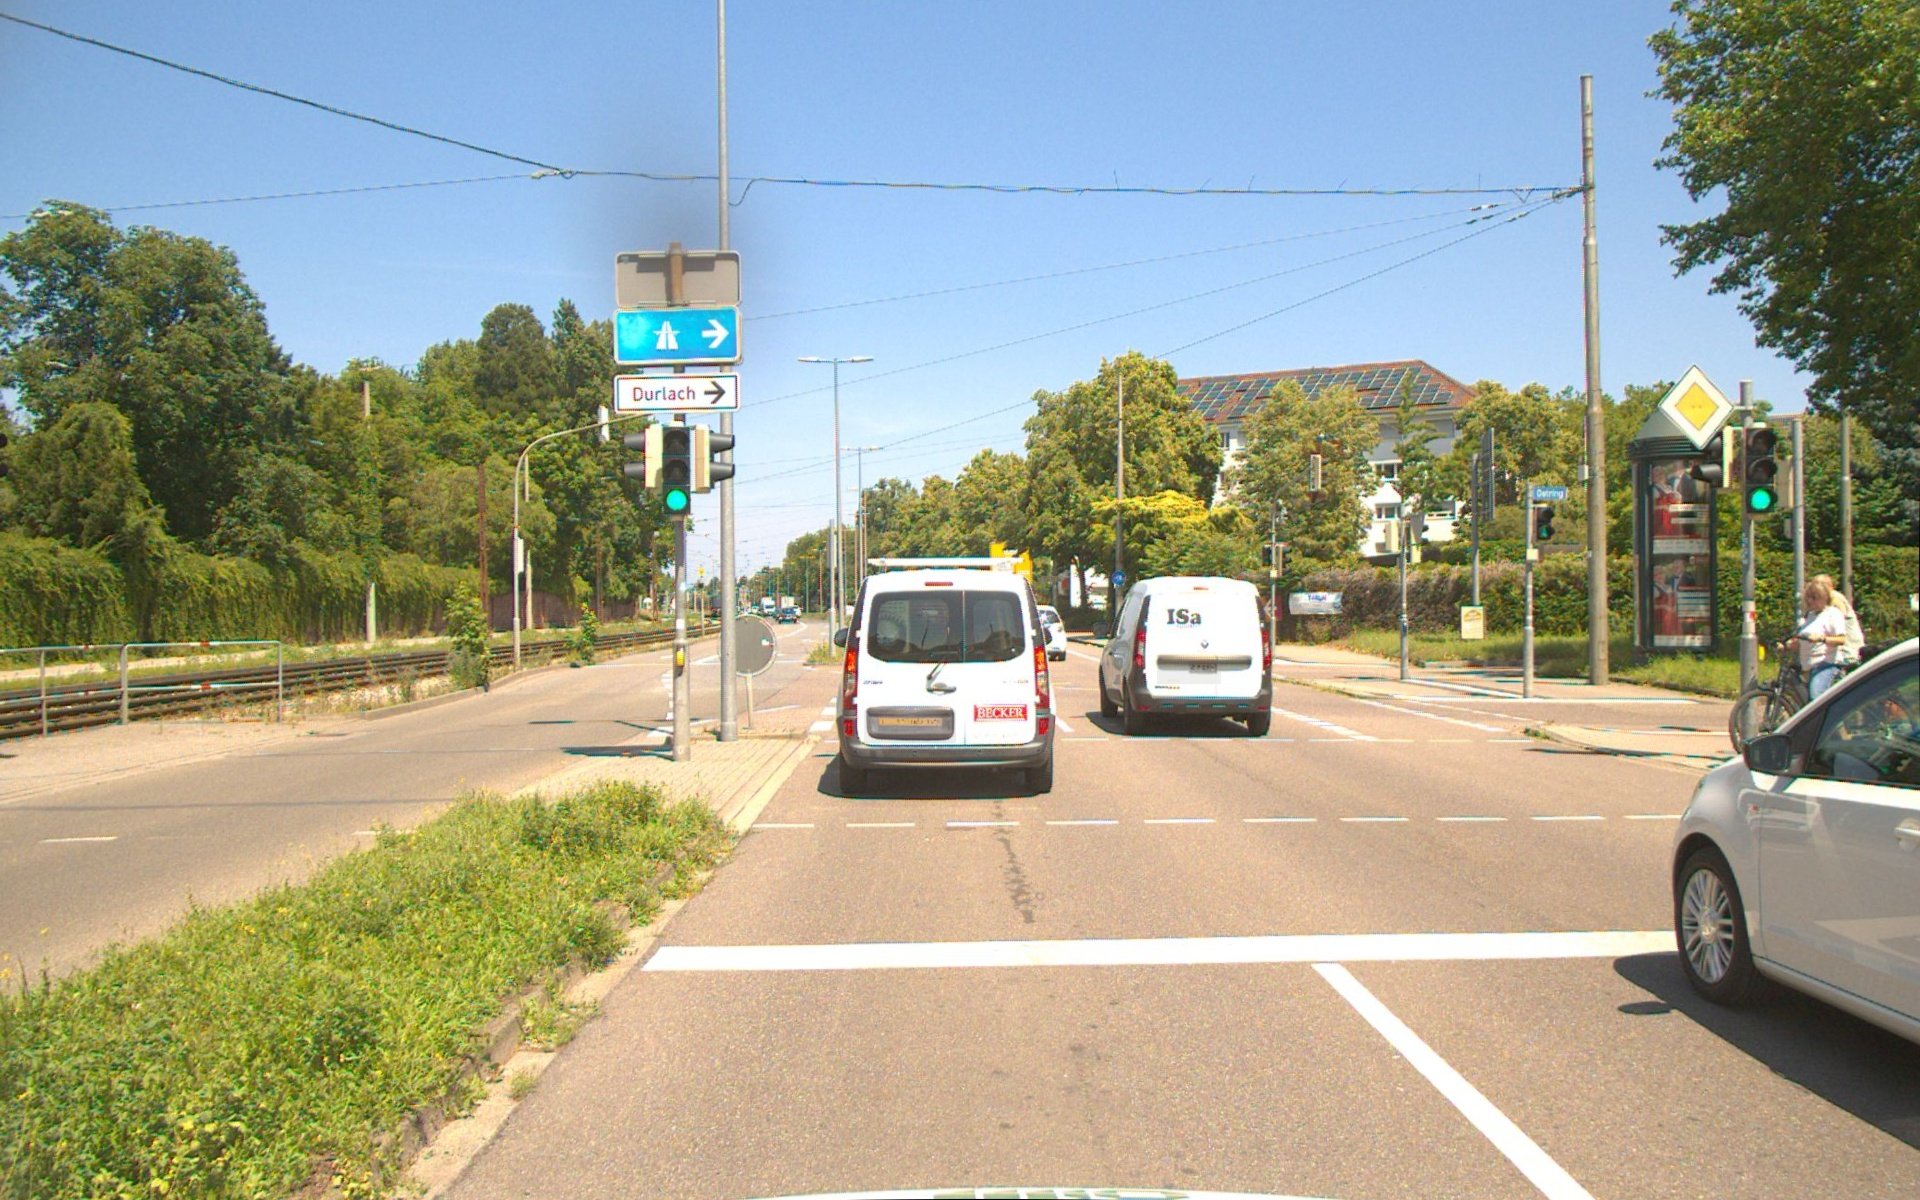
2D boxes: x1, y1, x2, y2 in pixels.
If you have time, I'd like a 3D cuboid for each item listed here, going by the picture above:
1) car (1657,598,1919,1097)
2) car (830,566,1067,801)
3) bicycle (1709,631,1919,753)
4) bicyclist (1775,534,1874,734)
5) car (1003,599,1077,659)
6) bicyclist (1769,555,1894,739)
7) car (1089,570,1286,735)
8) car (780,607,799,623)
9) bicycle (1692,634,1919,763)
[{"bbox_3d":[3.650,0.753,5.005,1.577,1.473,3.435,1,0,-1],"label":"car"},{"bbox_3d":[-0.140,0.634,14.738,1.784,1.770,4.395,0,0,-2],"label":"car"},{"bbox_3d":[8.823,0.923,16.917,1.911,1.179,0.894,0,-1,-4],"label":"bicycle"},{"bbox_3d":[8.112,0.311,15.542,0.564,1.819,0.768,1,-1,6],"label":"bicyclist"},{"bbox_3d":[2.244,0.782,47.246,1.798,1.596,3.999,1,0,-2],"label":"car"},{"bbox_3d":[8.887,0.471,16.902,0.709,1.819,0.976,0,-1,-3],"label":"bicyclist"},{"bbox_3d":[2.689,0.593,20.422,1.693,1.820,4.062,1,0,-2],"label":"car"},{"bbox_3d":[-17.057,1.490,165.962,1.663,1.539,4.063,-1,0,-3],"label":"car"},{"bbox_3d":[7.966,0.906,15.525,1.827,1.144,0.895,0,-1,6],"label":"bicycle"}]
